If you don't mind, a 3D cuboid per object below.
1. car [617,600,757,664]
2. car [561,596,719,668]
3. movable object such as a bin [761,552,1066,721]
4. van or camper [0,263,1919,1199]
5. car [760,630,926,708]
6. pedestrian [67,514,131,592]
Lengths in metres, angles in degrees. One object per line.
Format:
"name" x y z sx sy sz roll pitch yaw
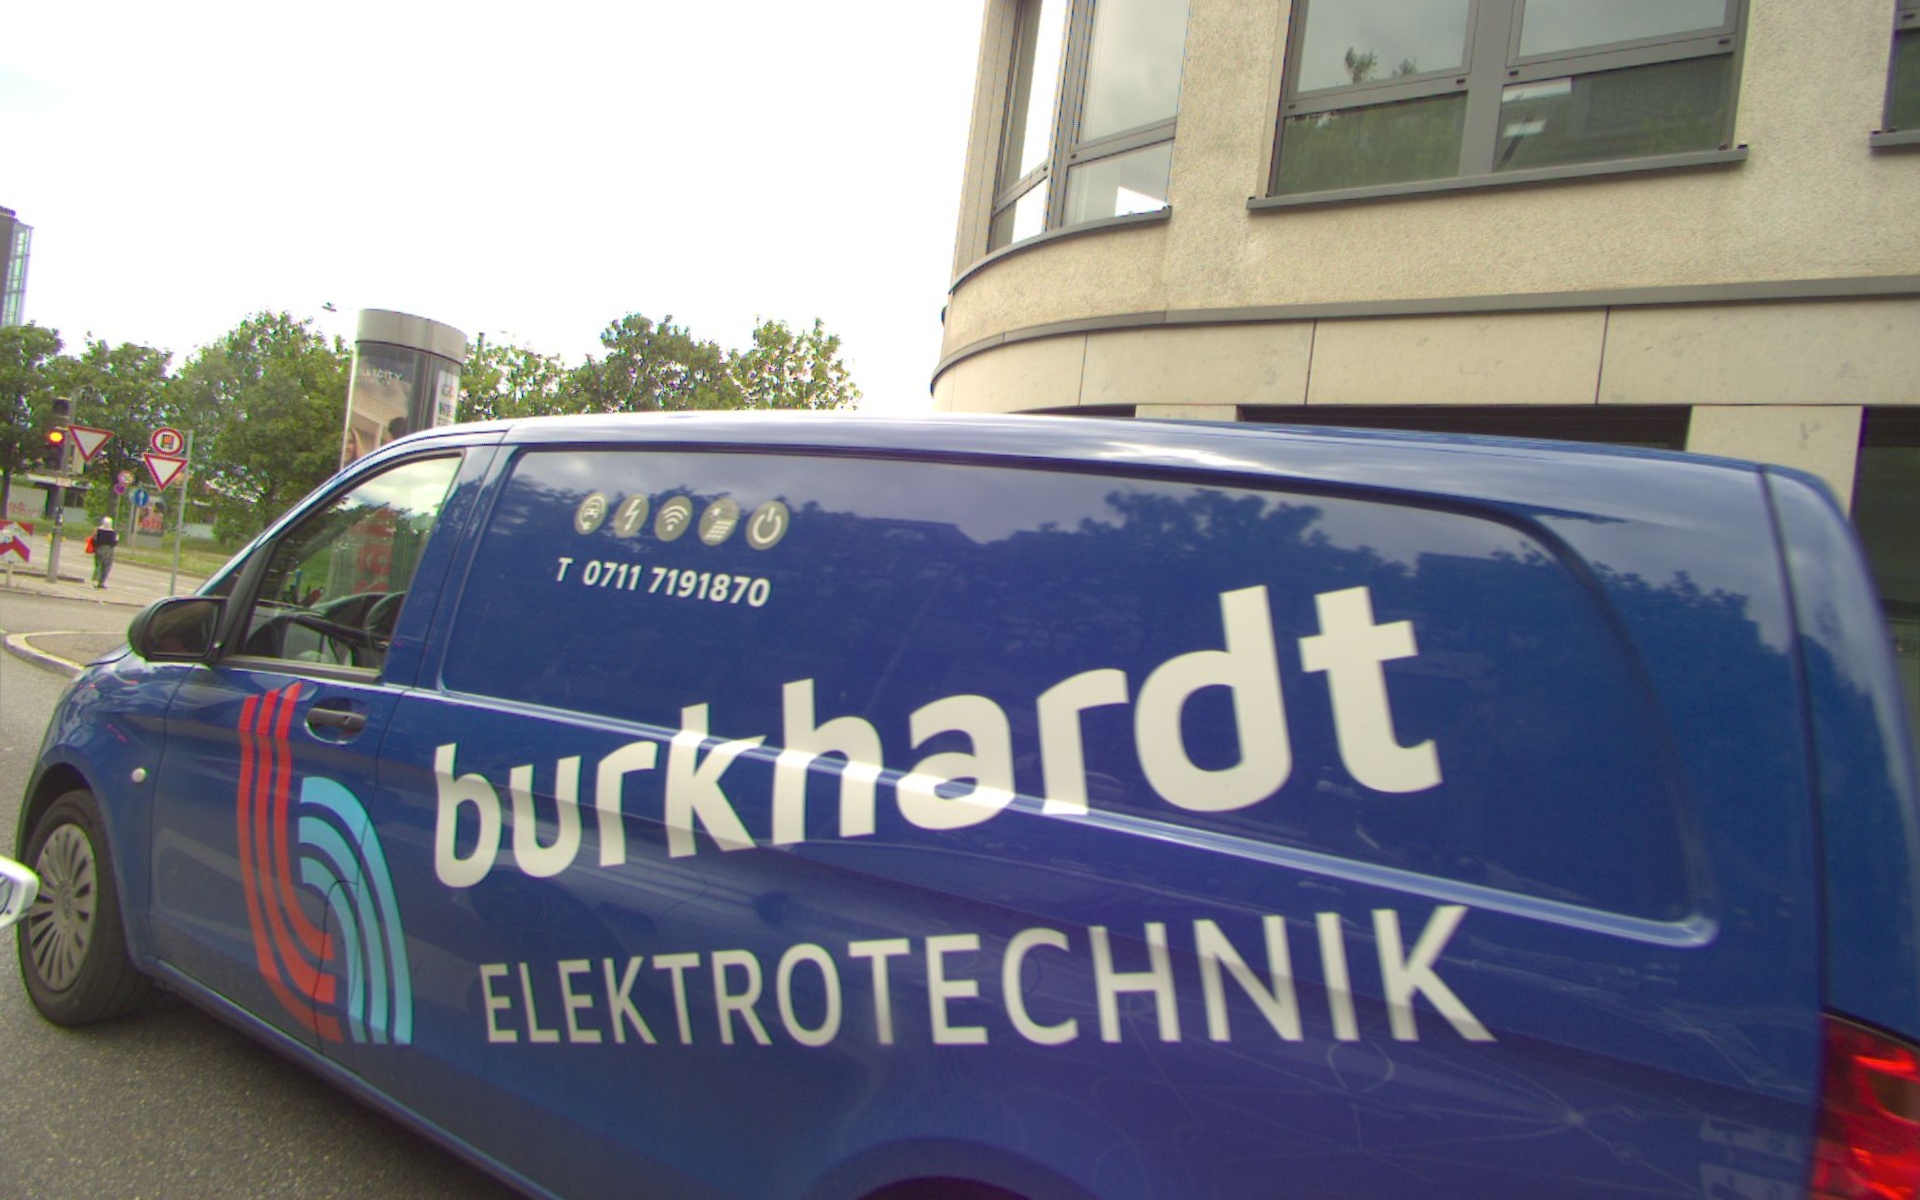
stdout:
"car" -9.099 1.079 33.600 3.925 1.469 2.003 8 -3 19
"car" -9.502 0.965 29.970 3.925 1.469 2.003 8 -3 19
"movable object such as a bin" -1.391 1.051 30.562 8.410 3.949 2.870 7 -1 18
"van or camper" -0.756 0.530 2.851 4.949 1.934 1.862 7 -1 32
"car" -3.193 1.910 27.731 3.925 1.469 2.003 8 -3 19
"pedestrian" -19.019 -1.028 22.231 0.564 1.602 0.739 9 -2 -8
